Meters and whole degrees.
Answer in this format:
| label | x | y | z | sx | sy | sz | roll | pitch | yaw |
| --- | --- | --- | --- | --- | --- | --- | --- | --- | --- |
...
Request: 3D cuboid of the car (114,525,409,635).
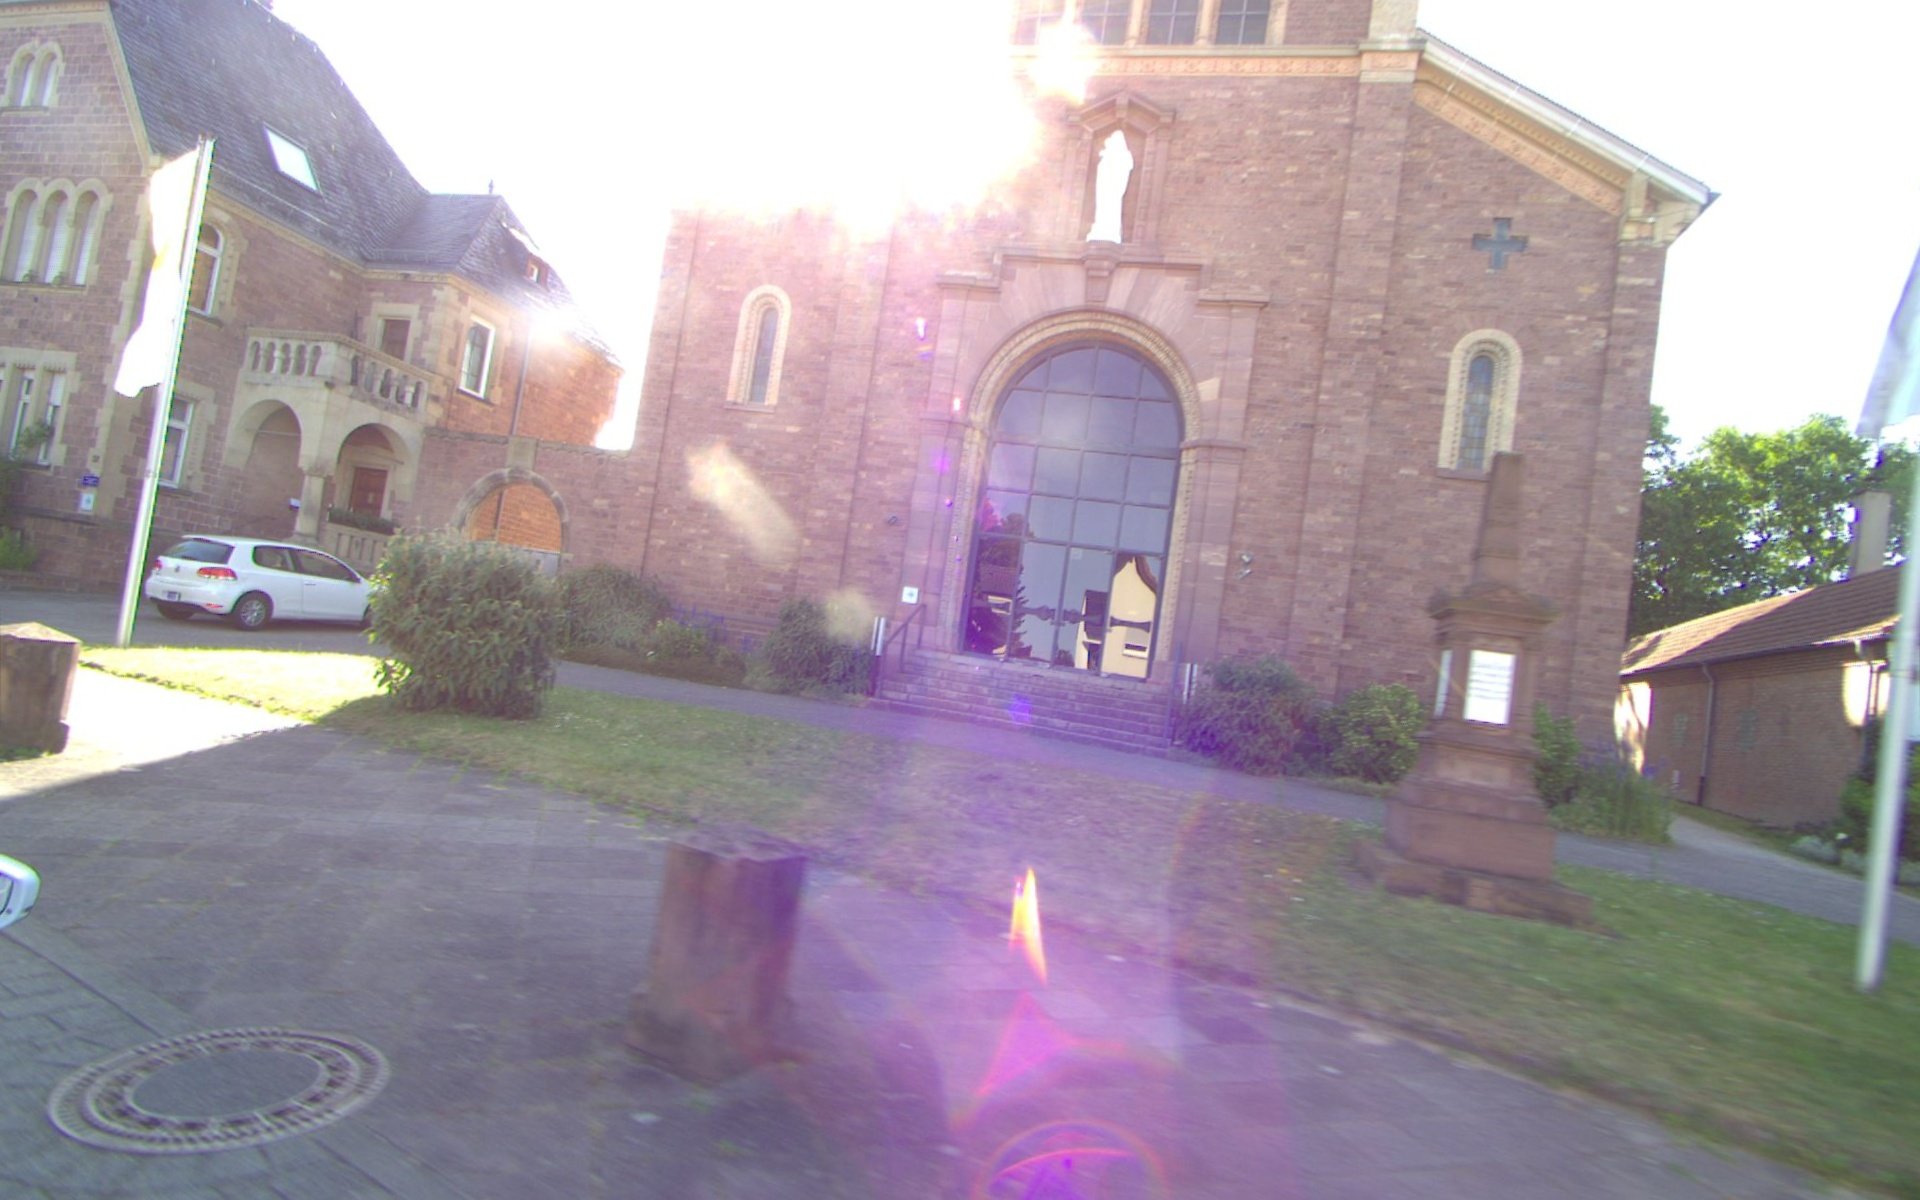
| label | x | y | z | sx | sy | sz | roll | pitch | yaw |
| --- | --- | --- | --- | --- | --- | --- | --- | --- | --- |
| car | -12.091 | -0.267 | 17.761 | 1.868 | 1.514 | 3.913 | 6 | -1 | 14 |
